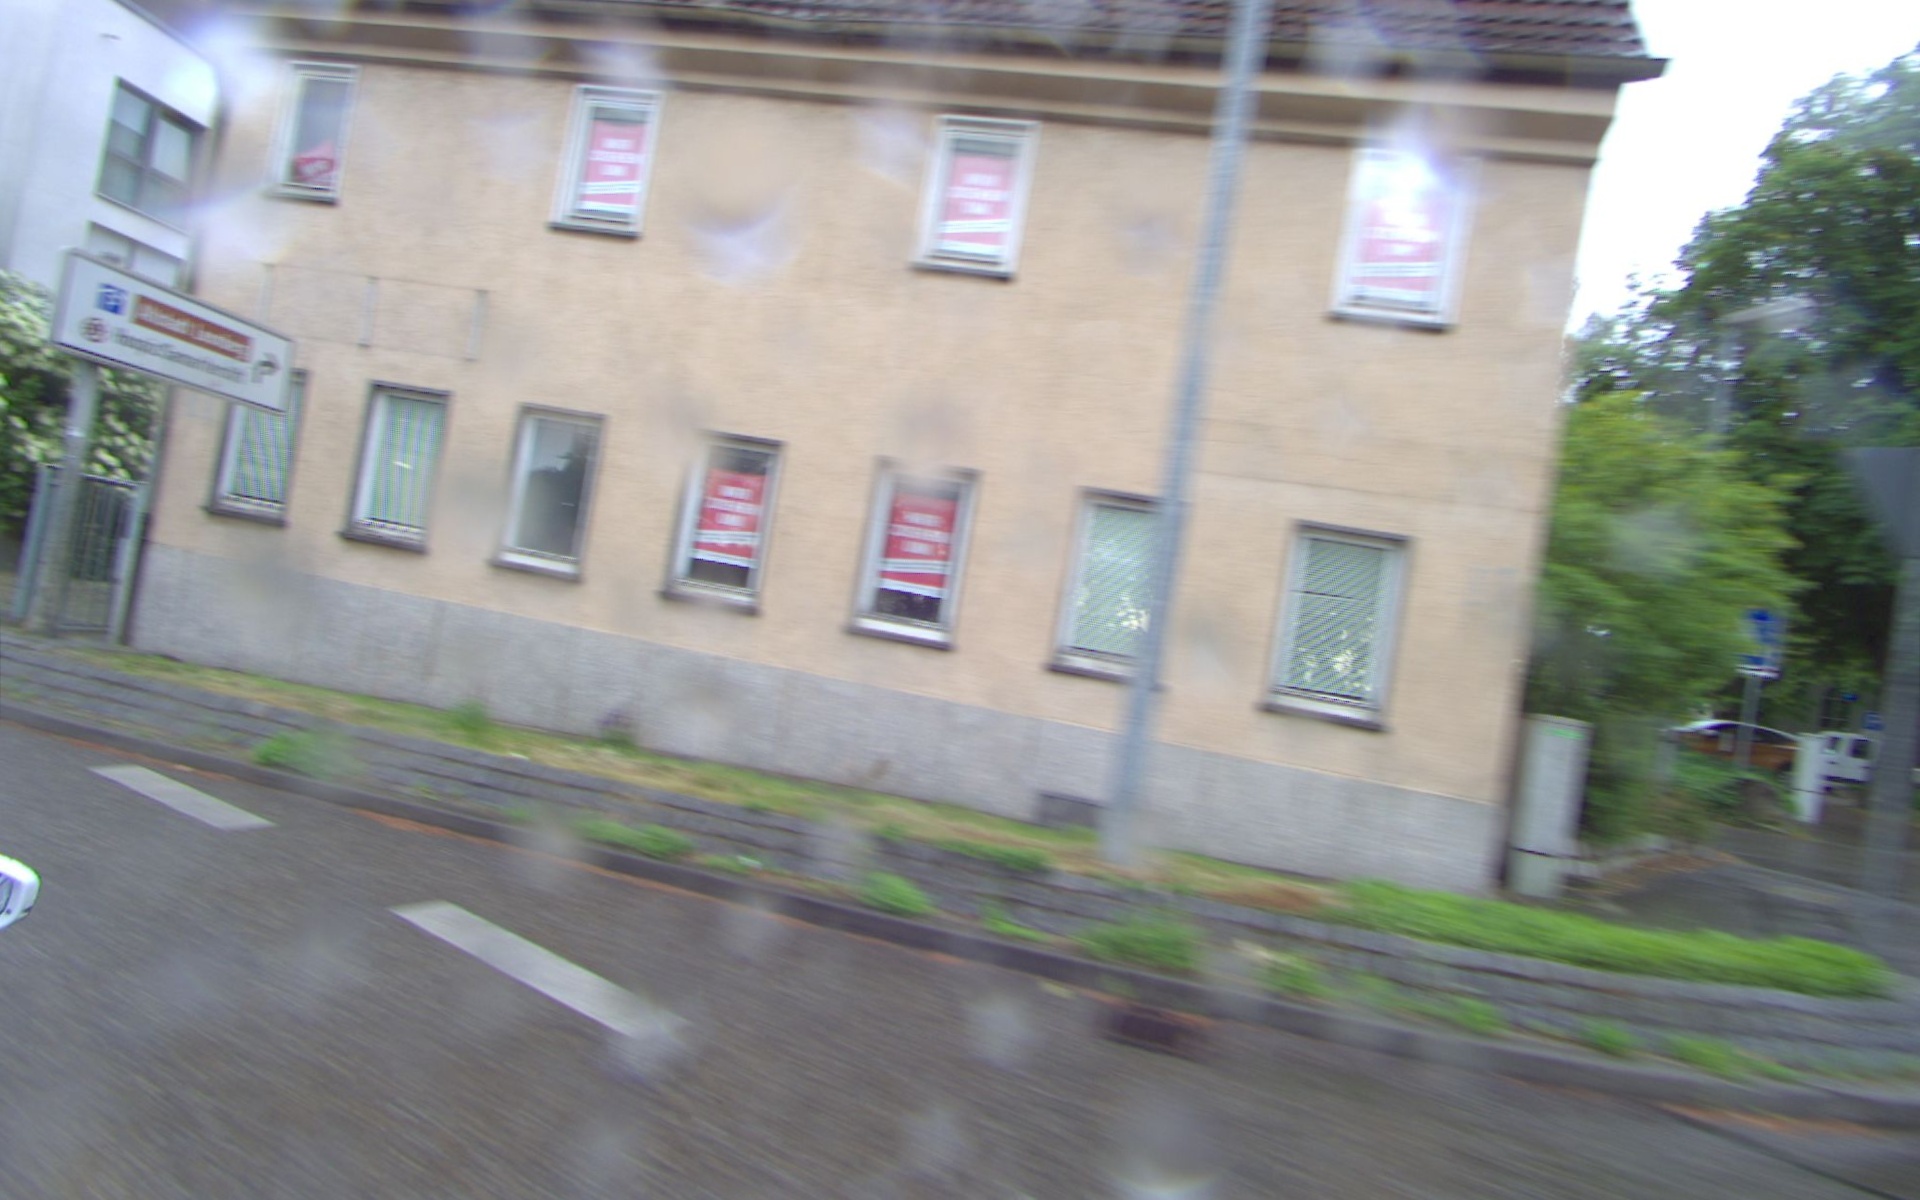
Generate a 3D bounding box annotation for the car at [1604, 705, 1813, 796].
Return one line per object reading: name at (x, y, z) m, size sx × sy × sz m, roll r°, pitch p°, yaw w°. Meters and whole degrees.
car at (19.193, 3.829, 25.959) m, size 3.830 × 1.591 × 1.721 m, roll 8°, pitch -1°, yaw 10°

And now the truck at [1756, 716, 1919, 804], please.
truck at (31.719, 5.610, 34.311) m, size 2.282 × 2.302 × 6.637 m, roll 7°, pitch -2°, yaw -30°

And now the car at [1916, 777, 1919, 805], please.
car at (38.583, 7.204, 37.510) m, size 1.842 × 1.855 × 3.801 m, roll 12°, pitch -3°, yaw -33°
